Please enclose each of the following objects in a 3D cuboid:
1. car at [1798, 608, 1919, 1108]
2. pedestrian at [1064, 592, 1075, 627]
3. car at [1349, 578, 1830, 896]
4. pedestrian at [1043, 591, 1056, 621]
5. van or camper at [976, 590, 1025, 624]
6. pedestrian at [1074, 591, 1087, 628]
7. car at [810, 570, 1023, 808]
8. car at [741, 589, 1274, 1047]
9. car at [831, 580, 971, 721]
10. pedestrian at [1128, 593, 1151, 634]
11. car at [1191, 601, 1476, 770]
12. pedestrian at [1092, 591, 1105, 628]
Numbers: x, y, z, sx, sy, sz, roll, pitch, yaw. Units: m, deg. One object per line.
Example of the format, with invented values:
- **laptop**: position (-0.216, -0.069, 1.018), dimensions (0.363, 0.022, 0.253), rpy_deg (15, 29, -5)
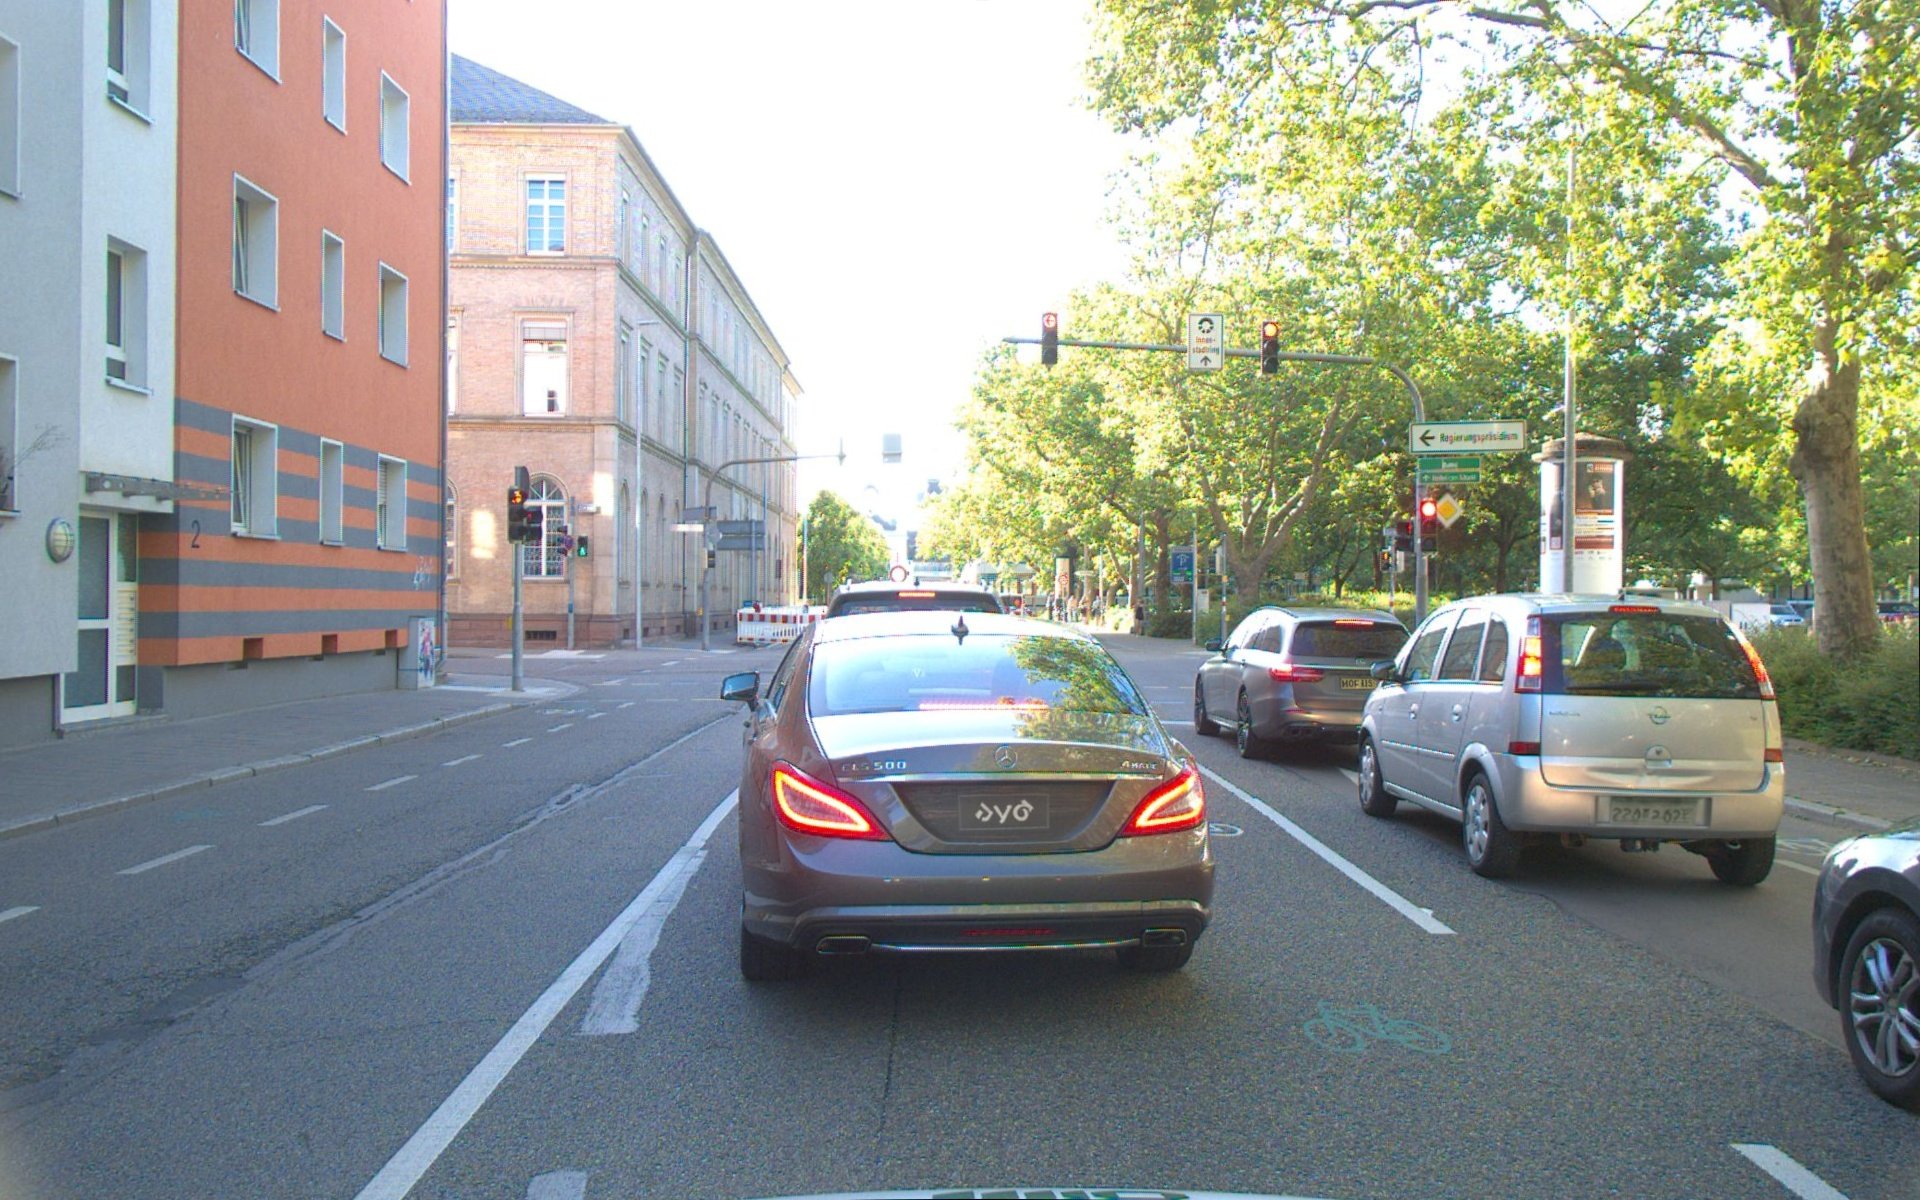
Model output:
- **car**: position (3.749, 0.817, 3.736), dimensions (1.611, 1.508, 3.975), rpy_deg (2, 0, -1)
- **pedestrian**: position (6.388, 0.547, 96.557), dimensions (0.528, 2.049, 0.473), rpy_deg (1, -1, -1)
- **car**: position (3.805, 0.723, 10.739), dimensions (1.666, 1.631, 3.860), rpy_deg (2, 0, 1)
- **pedestrian**: position (5.679, 0.371, 104.988), dimensions (0.687, 1.870, 0.736), rpy_deg (1, 0, -3)
- **van or camper**: position (2.438, 0.415, 101.358), dimensions (1.959, 1.975, 4.579), rpy_deg (1, 0, -13)
- **pedestrian**: position (6.169, 0.478, 84.831), dimensions (0.591, 1.853, 0.651), rpy_deg (1, 0, -1)
- **car**: position (-0.400, 0.629, 13.695), dimensions (1.487, 1.675, 3.878), rpy_deg (1, 0, -3)
- **car**: position (-0.107, 0.703, 7.634), dimensions (1.769, 1.482, 4.343), rpy_deg (1, 0, -8)
- **car**: position (-0.782, 0.643, 23.220), dimensions (1.783, 1.793, 3.999), rpy_deg (0, 0, -1)
- **pedestrian**: position (7.245, 0.538, 66.721), dimensions (0.813, 1.634, 0.651), rpy_deg (1, 0, -1)
- **car**: position (3.752, 0.785, 17.502), dimensions (1.874, 1.490, 4.668), rpy_deg (1, 0, -1)
- **pedestrian**: position (7.082, 0.475, 84.602), dimensions (0.591, 1.853, 0.651), rpy_deg (1, 0, -1)
